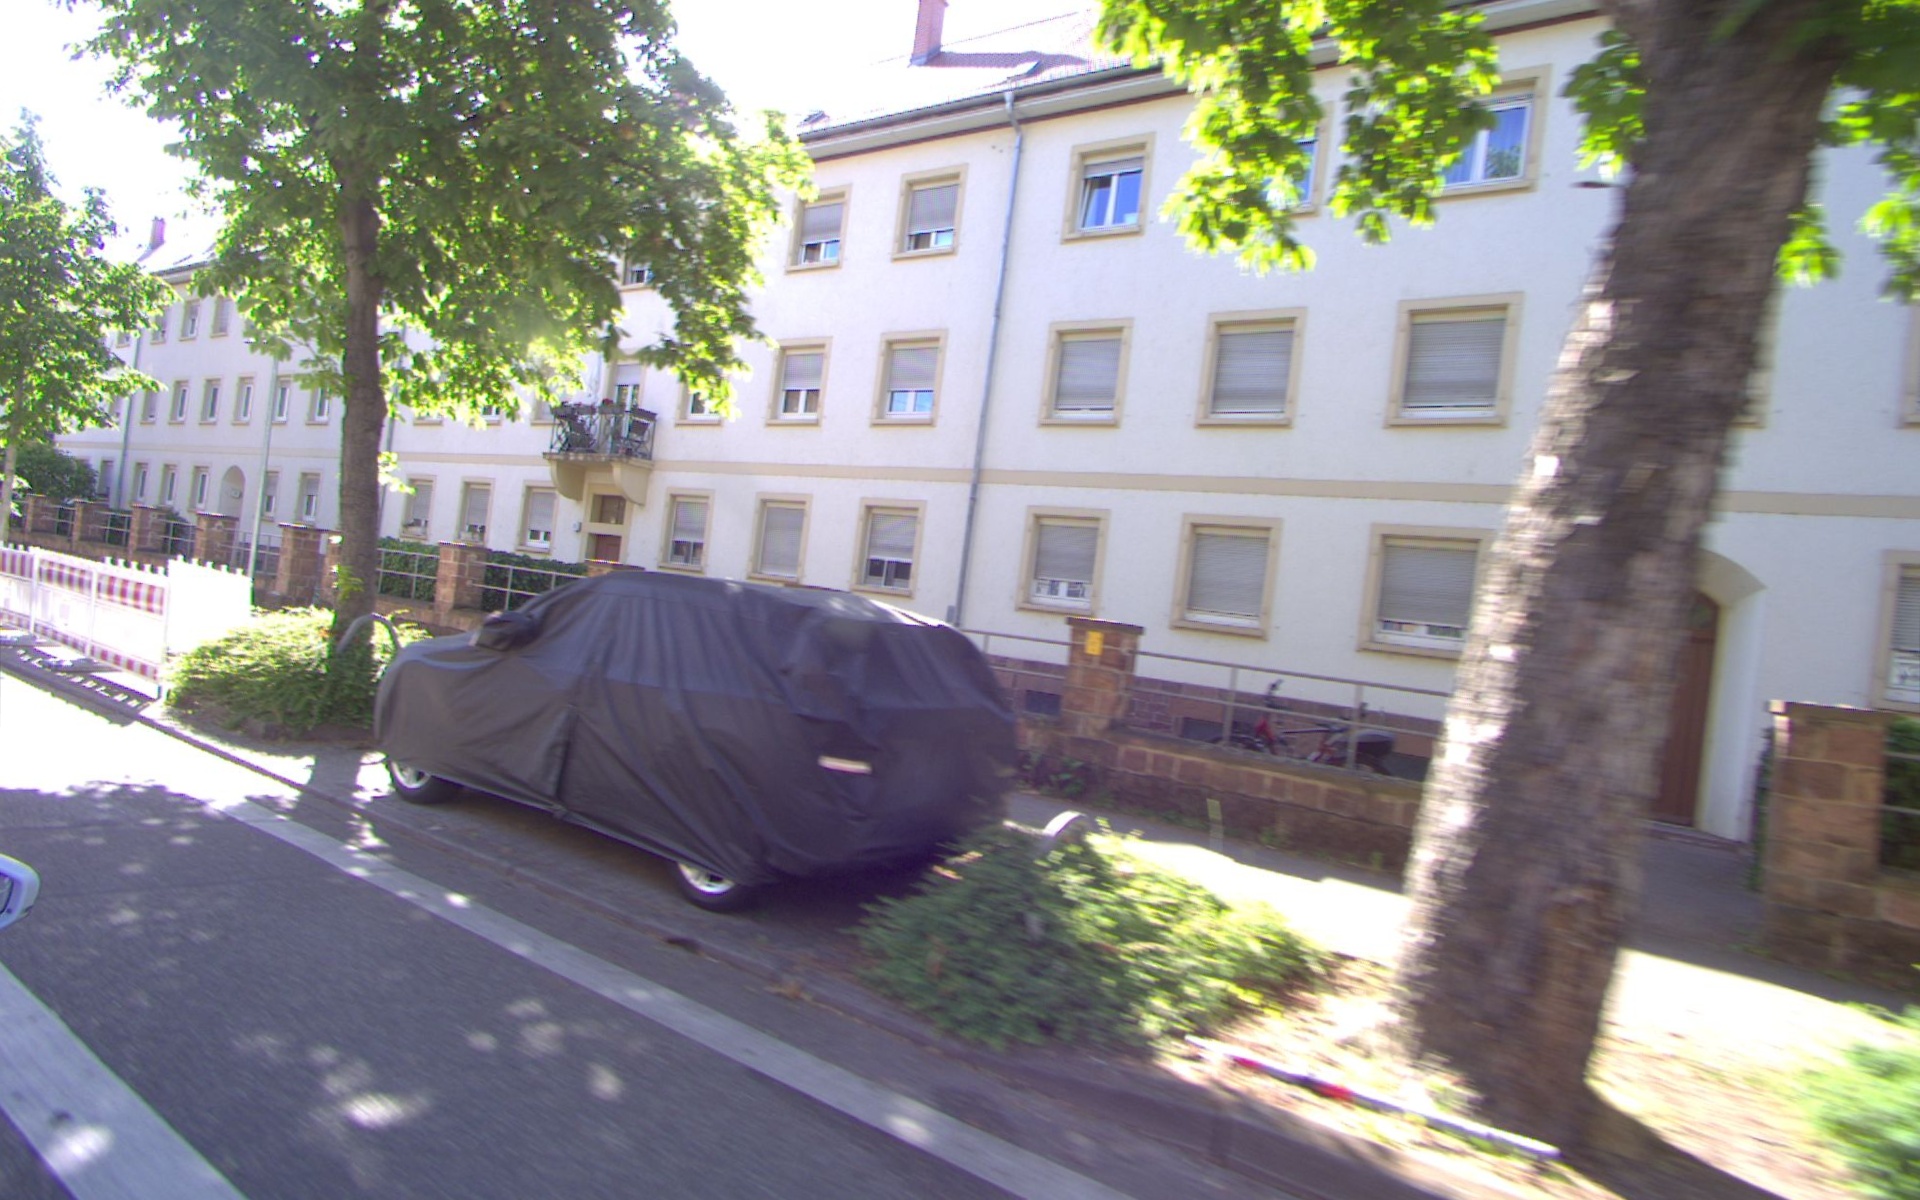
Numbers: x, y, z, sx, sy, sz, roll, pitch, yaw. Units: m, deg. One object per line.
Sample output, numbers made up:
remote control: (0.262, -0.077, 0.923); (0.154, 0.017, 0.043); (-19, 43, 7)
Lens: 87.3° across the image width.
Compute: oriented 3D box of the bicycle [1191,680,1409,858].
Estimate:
bicycle: (2.991, 1.447, 8.933); (1.648, 1.253, 0.448); (7, 0, 32)

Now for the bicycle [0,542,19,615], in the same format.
bicycle: (-15.322, -0.449, 14.975); (0.426, 1.089, 1.765); (7, -3, 34)

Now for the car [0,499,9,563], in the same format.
car: (-18.065, -1.064, 17.079); (4.162, 1.781, 1.669); (6, -2, 32)

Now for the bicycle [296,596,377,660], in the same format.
bicycle: (-12.580, 0.552, 20.278); (1.841, 1.065, 0.560); (6, -1, 33)

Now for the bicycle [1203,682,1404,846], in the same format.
bicycle: (3.278, 1.531, 9.666); (1.648, 1.253, 0.448); (7, 0, 32)

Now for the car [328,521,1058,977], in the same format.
car: (-1.841, 0.669, 6.356); (4.404, 1.785, 1.748); (7, -3, 32)
